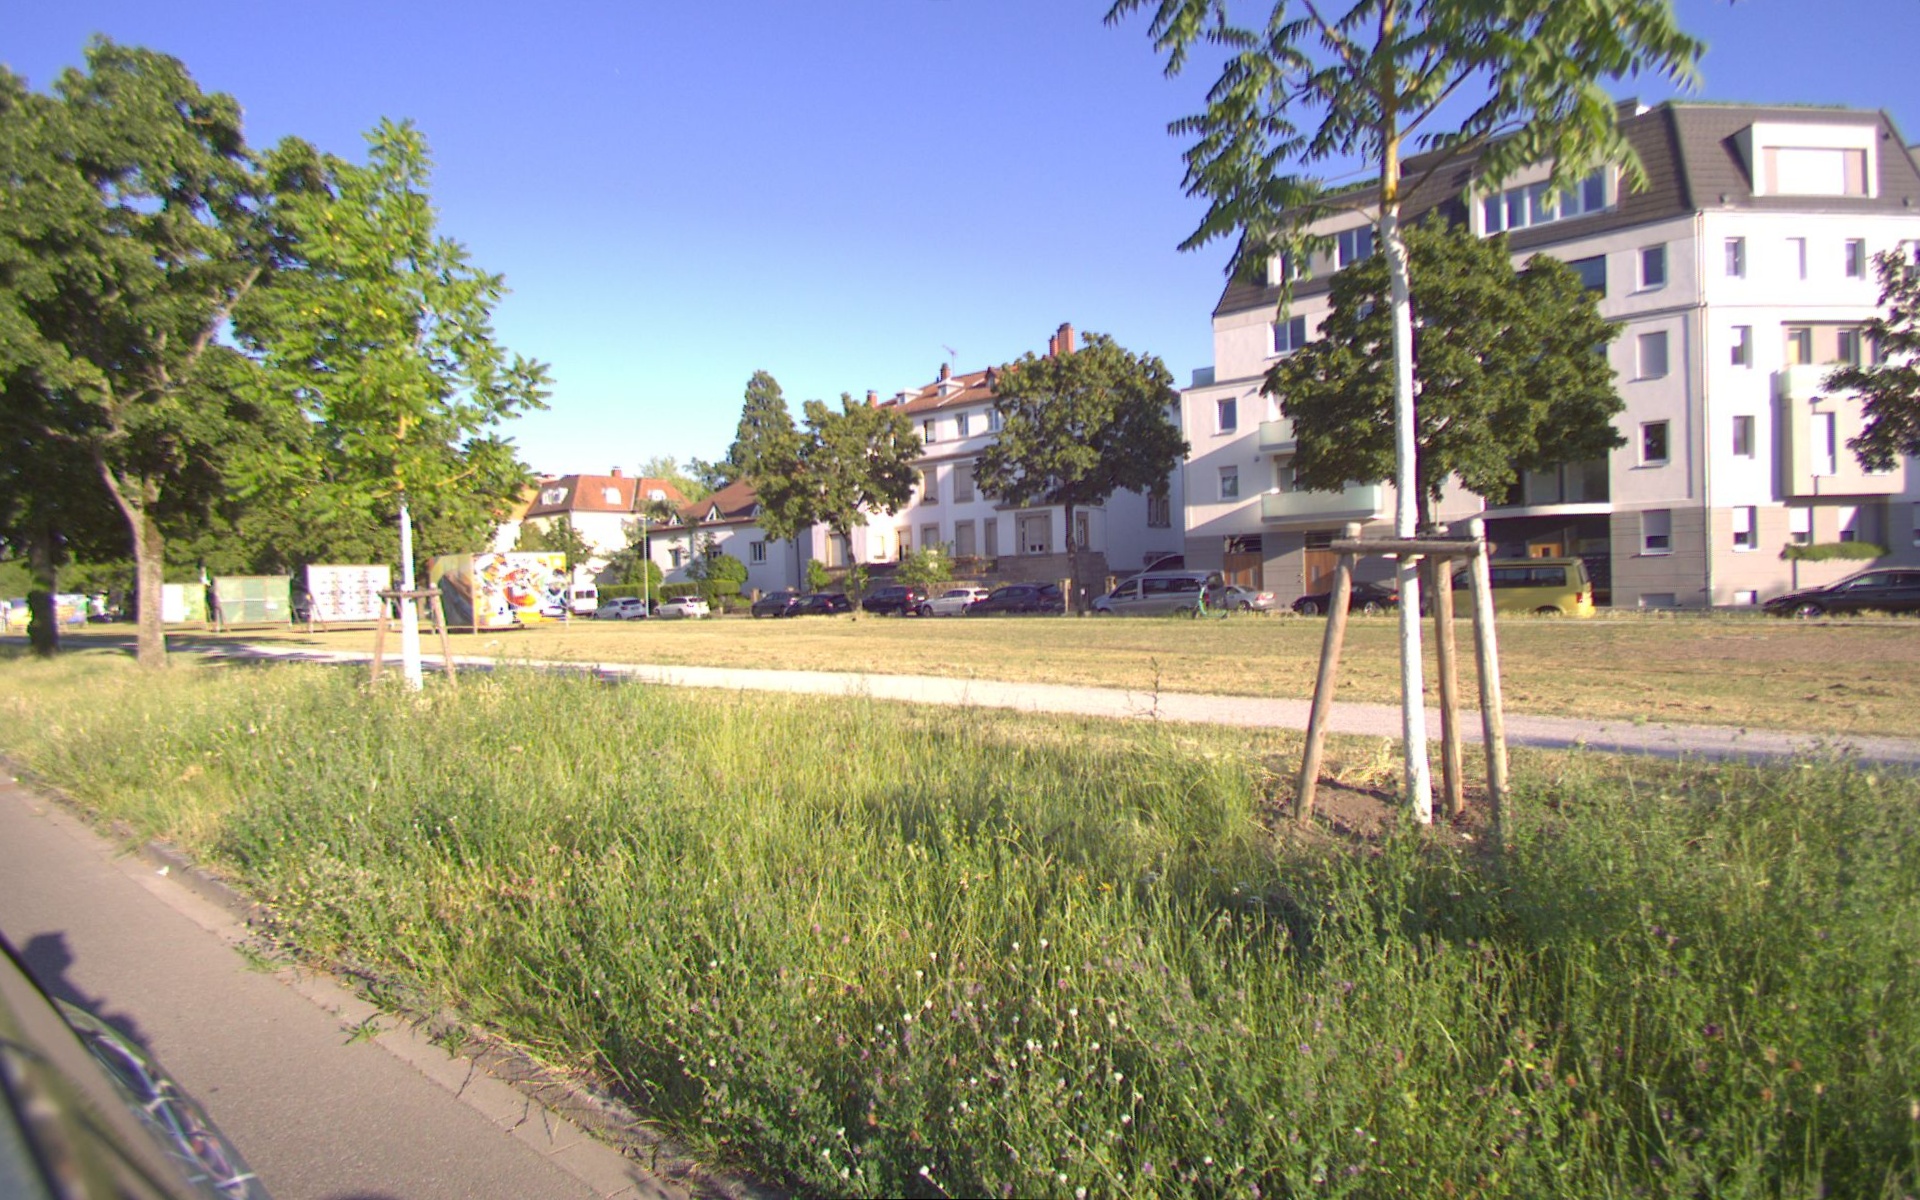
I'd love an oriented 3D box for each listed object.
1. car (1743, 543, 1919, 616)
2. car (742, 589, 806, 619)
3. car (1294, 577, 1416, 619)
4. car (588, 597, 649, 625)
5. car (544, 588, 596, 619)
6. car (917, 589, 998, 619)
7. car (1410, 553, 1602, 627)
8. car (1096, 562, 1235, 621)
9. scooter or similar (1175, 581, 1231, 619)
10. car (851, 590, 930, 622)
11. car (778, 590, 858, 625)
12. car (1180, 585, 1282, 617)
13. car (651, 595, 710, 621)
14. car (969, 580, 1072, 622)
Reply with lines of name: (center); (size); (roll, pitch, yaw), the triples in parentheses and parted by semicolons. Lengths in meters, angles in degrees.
car: (22.162, -0.482, 24.631); (4.836, 1.681, 1.764); (-1, 1, 41)
car: (-10.991, 0.244, 59.749); (3.999, 1.674, 1.621); (-1, 1, 42)
car: (15.003, -0.061, 38.586); (3.998, 1.474, 1.655); (-1, 1, 41)
car: (-20.781, 0.680, 61.509); (3.833, 1.592, 1.802); (-1, 1, 40)
car: (-29.255, 0.262, 75.852); (4.131, 2.230, 1.972); (-1, 1, 43)
car: (-0.173, 0.213, 51.401); (4.005, 1.457, 1.621); (-1, 0, 40)
car: (16.049, -0.259, 29.886); (4.690, 2.029, 2.006); (-1, 1, 40)
car: (7.558, -0.289, 37.394); (4.571, 2.029, 2.052); (-1, 1, 39)
scooter or similar: (7.515, 0.016, 31.313); (1.648, 1.124, 0.447); (-1, 1, 41)
car: (-3.745, 0.348, 54.410); (4.160, 1.592, 1.802); (-1, 1, 40)
car: (-6.990, 0.385, 49.746); (3.833, 1.592, 1.802); (-1, 1, 40)
car: (11.099, 0.046, 41.534); (3.723, 1.249, 1.606); (-1, 0, 36)
car: (-18.503, 0.545, 66.958); (3.964, 1.592, 1.802); (-1, 1, 40)
car: (2.452, 0.038, 41.212); (3.830, 1.592, 1.803); (-1, 1, 38)
